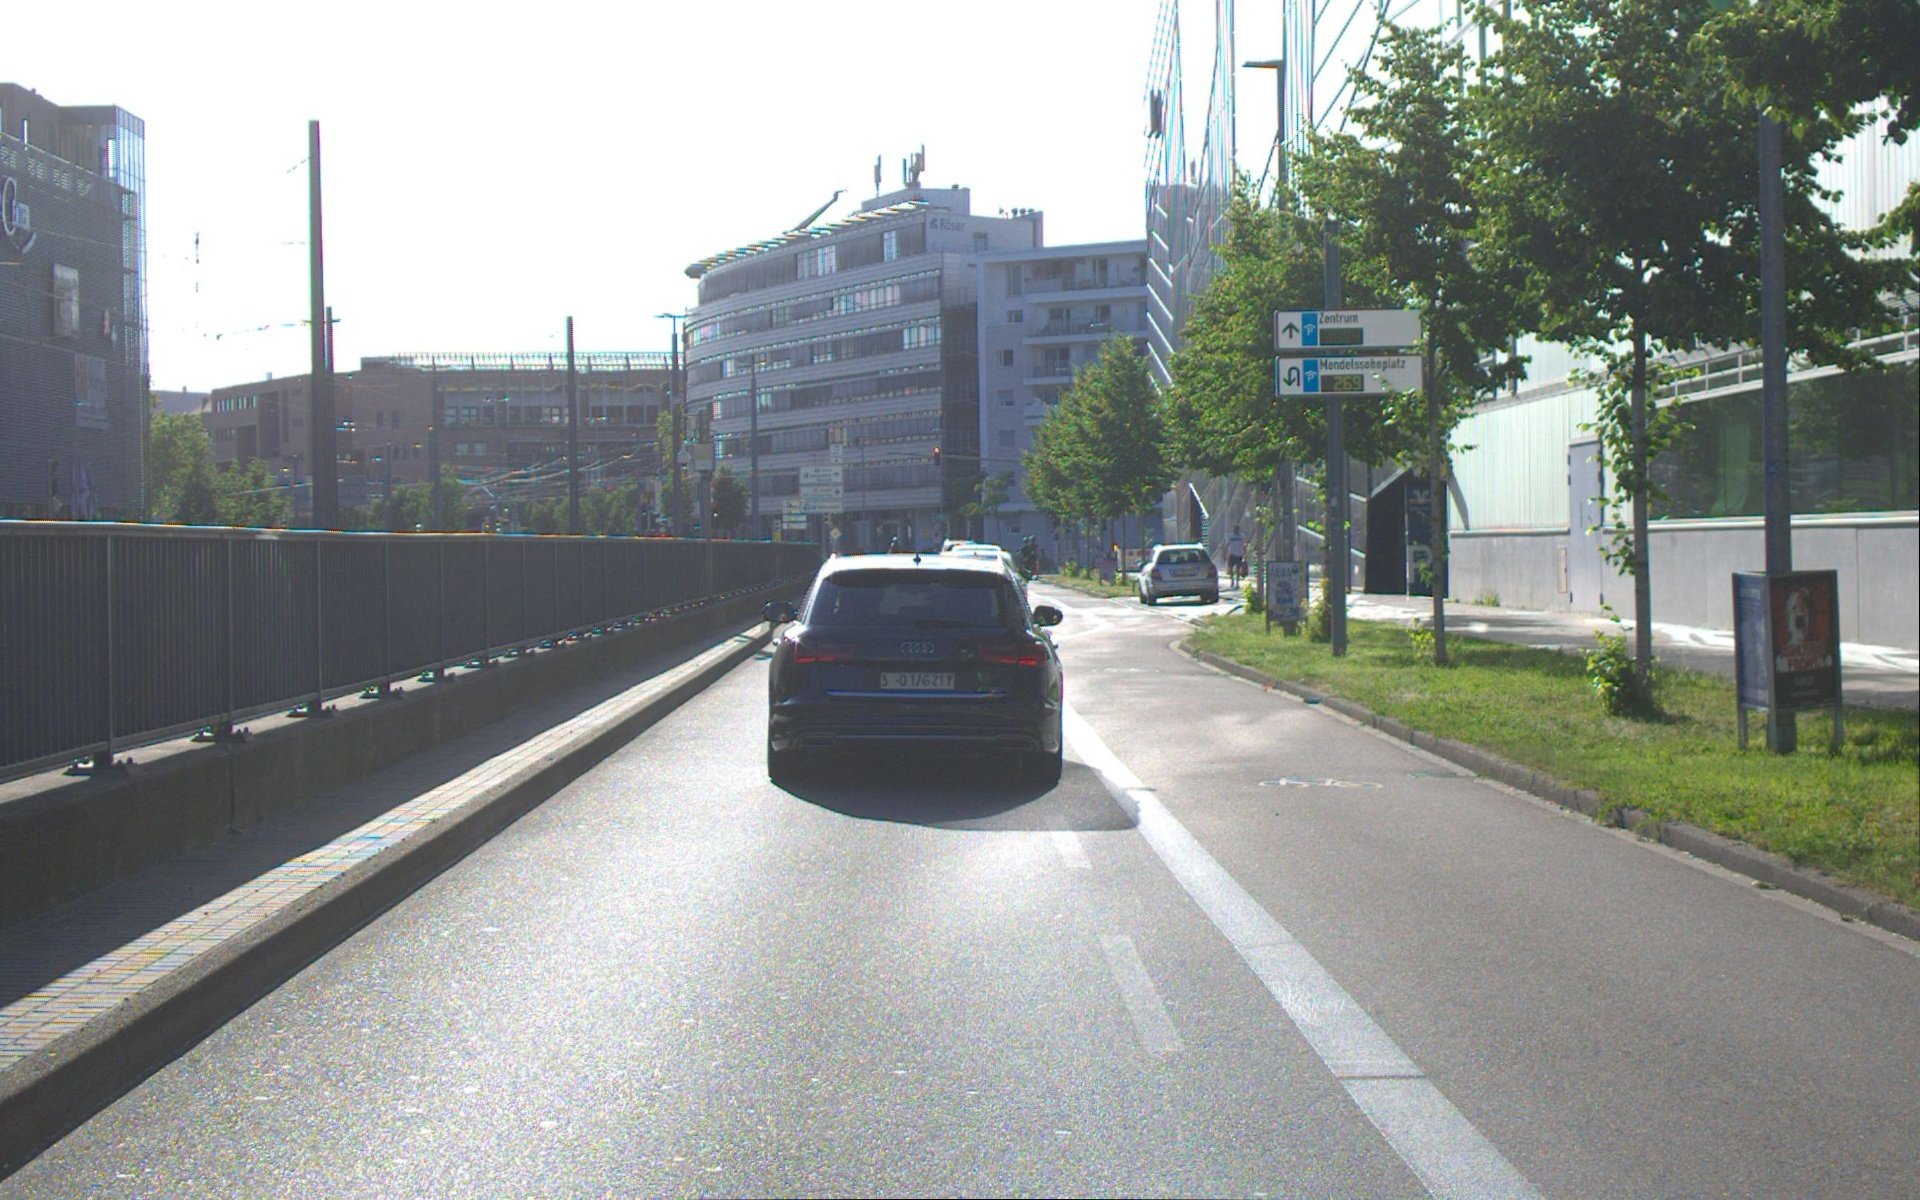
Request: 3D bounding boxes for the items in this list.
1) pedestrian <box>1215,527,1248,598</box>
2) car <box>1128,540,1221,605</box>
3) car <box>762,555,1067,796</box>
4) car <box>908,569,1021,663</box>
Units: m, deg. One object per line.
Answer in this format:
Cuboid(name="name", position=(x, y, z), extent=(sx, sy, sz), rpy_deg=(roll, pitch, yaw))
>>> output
Cuboid(name="pedestrian", position=(7.779, -1.083, 98.479), extent=(0.836, 2.007, 0.689), rpy_deg=(-2, 1, 0))
Cuboid(name="car", position=(5.305, -0.713, 85.583), extent=(1.852, 1.476, 4.854), rpy_deg=(-2, 1, -1))
Cuboid(name="car", position=(-0.335, 0.424, 22.972), extent=(1.812, 1.422, 4.690), rpy_deg=(-1, 1, -1))
Cuboid(name="car", position=(0.050, 0.258, 60.768), extent=(1.852, 1.541, 4.001), rpy_deg=(1, 1, -2))
